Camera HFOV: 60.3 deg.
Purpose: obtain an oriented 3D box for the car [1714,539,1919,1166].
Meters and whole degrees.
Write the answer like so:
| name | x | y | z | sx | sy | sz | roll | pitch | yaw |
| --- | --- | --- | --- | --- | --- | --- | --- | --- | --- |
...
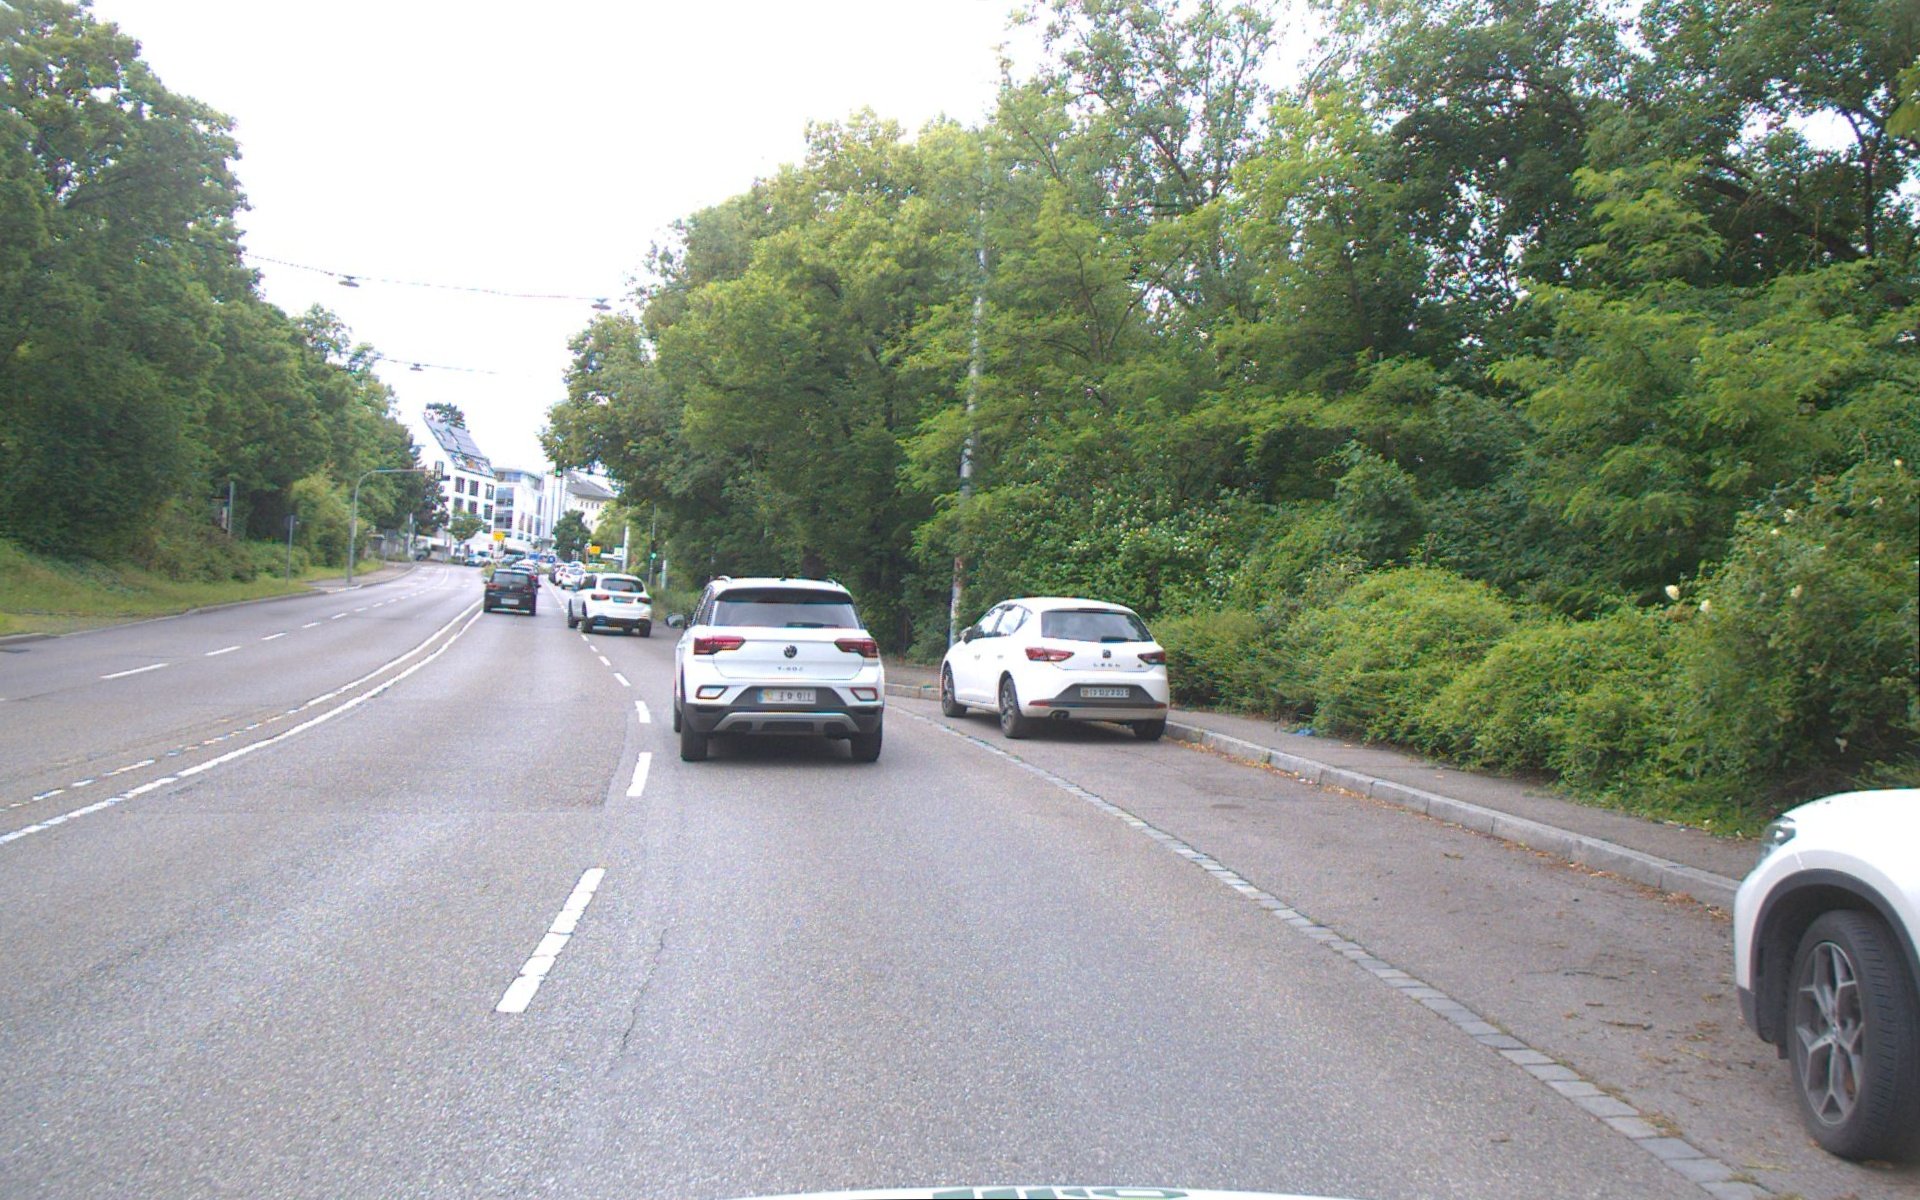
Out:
| name | x | y | z | sx | sy | sz | roll | pitch | yaw |
| --- | --- | --- | --- | --- | --- | --- | --- | --- | --- |
| car | 3.551 | 0.691 | 3.351 | 1.724 | 1.681 | 4.375 | 0 | 0 | -6 |

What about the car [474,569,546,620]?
| name | x | y | z | sx | sy | sz | roll | pitch | yaw |
| --- | --- | --- | --- | --- | --- | --- | --- | --- | --- |
| car | -15.373 | -0.216 | 56.399 | 1.922 | 1.491 | 3.976 | 3 | 1 | -21 |

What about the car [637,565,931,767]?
| name | x | y | z | sx | sy | sz | roll | pitch | yaw |
| --- | --- | --- | --- | --- | --- | --- | --- | --- | --- |
| car | -1.789 | 0.516 | 15.523 | 1.970 | 1.624 | 3.980 | 0 | 0 | -18 |

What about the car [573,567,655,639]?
| name | x | y | z | sx | sy | sz | roll | pitch | yaw |
| --- | --- | --- | --- | --- | --- | --- | --- | --- | --- |
| car | -9.729 | 0.044 | 46.274 | 1.823 | 1.732 | 3.981 | 1 | 3 | -18 |

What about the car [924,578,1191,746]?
| name | x | y | z | sx | sy | sz | roll | pitch | yaw |
| --- | --- | --- | --- | --- | --- | --- | --- | --- | --- |
| car | 0.942 | 0.604 | 18.837 | 1.703 | 1.508 | 4.686 | 3 | 1 | -13 |
